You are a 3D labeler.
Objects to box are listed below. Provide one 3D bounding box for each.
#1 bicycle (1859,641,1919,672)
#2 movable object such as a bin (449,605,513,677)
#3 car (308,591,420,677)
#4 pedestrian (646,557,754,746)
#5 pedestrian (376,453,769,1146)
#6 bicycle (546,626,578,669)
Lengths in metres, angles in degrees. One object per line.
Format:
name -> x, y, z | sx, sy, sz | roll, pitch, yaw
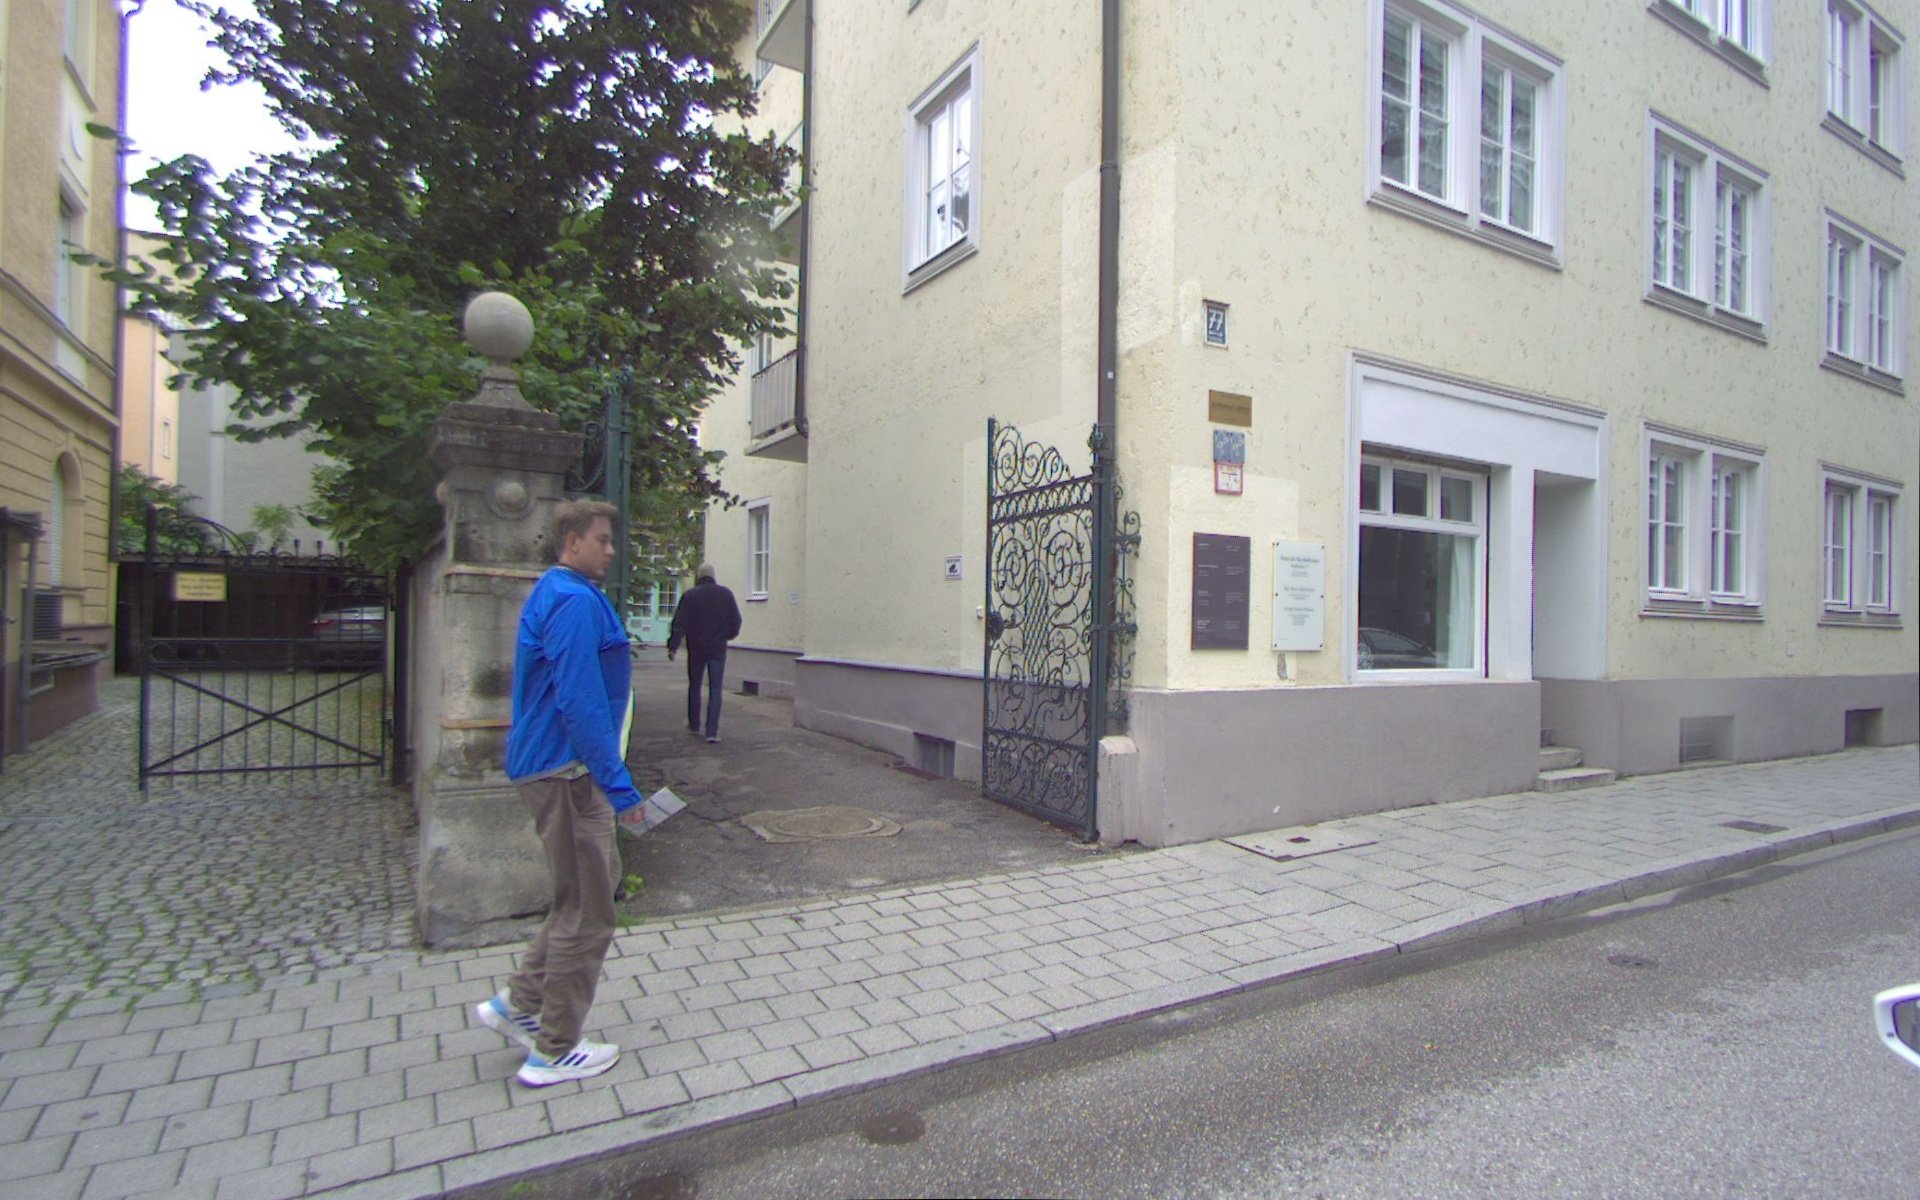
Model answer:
bicycle -> 35.053, 2.104, 37.829 | 0.590, 1.083, 1.650 | 1, 0, -26
movable object such as a bin -> -9.806, 0.834, 20.614 | 1.092, 1.422, 1.221 | 1, -1, -23
car -> -12.532, 0.671, 21.324 | 1.612, 1.561, 3.709 | 2, 1, -25
pedestrian -> -2.725, 0.522, 10.481 | 0.896, 1.851, 0.950 | 1, -1, -26
pedestrian -> -1.289, 0.552, 3.324 | 1.064, 1.879, 0.753 | 2, 0, -31
bicycle -> -9.640, 1.140, 24.372 | 0.688, 0.985, 1.879 | 1, -1, -21
